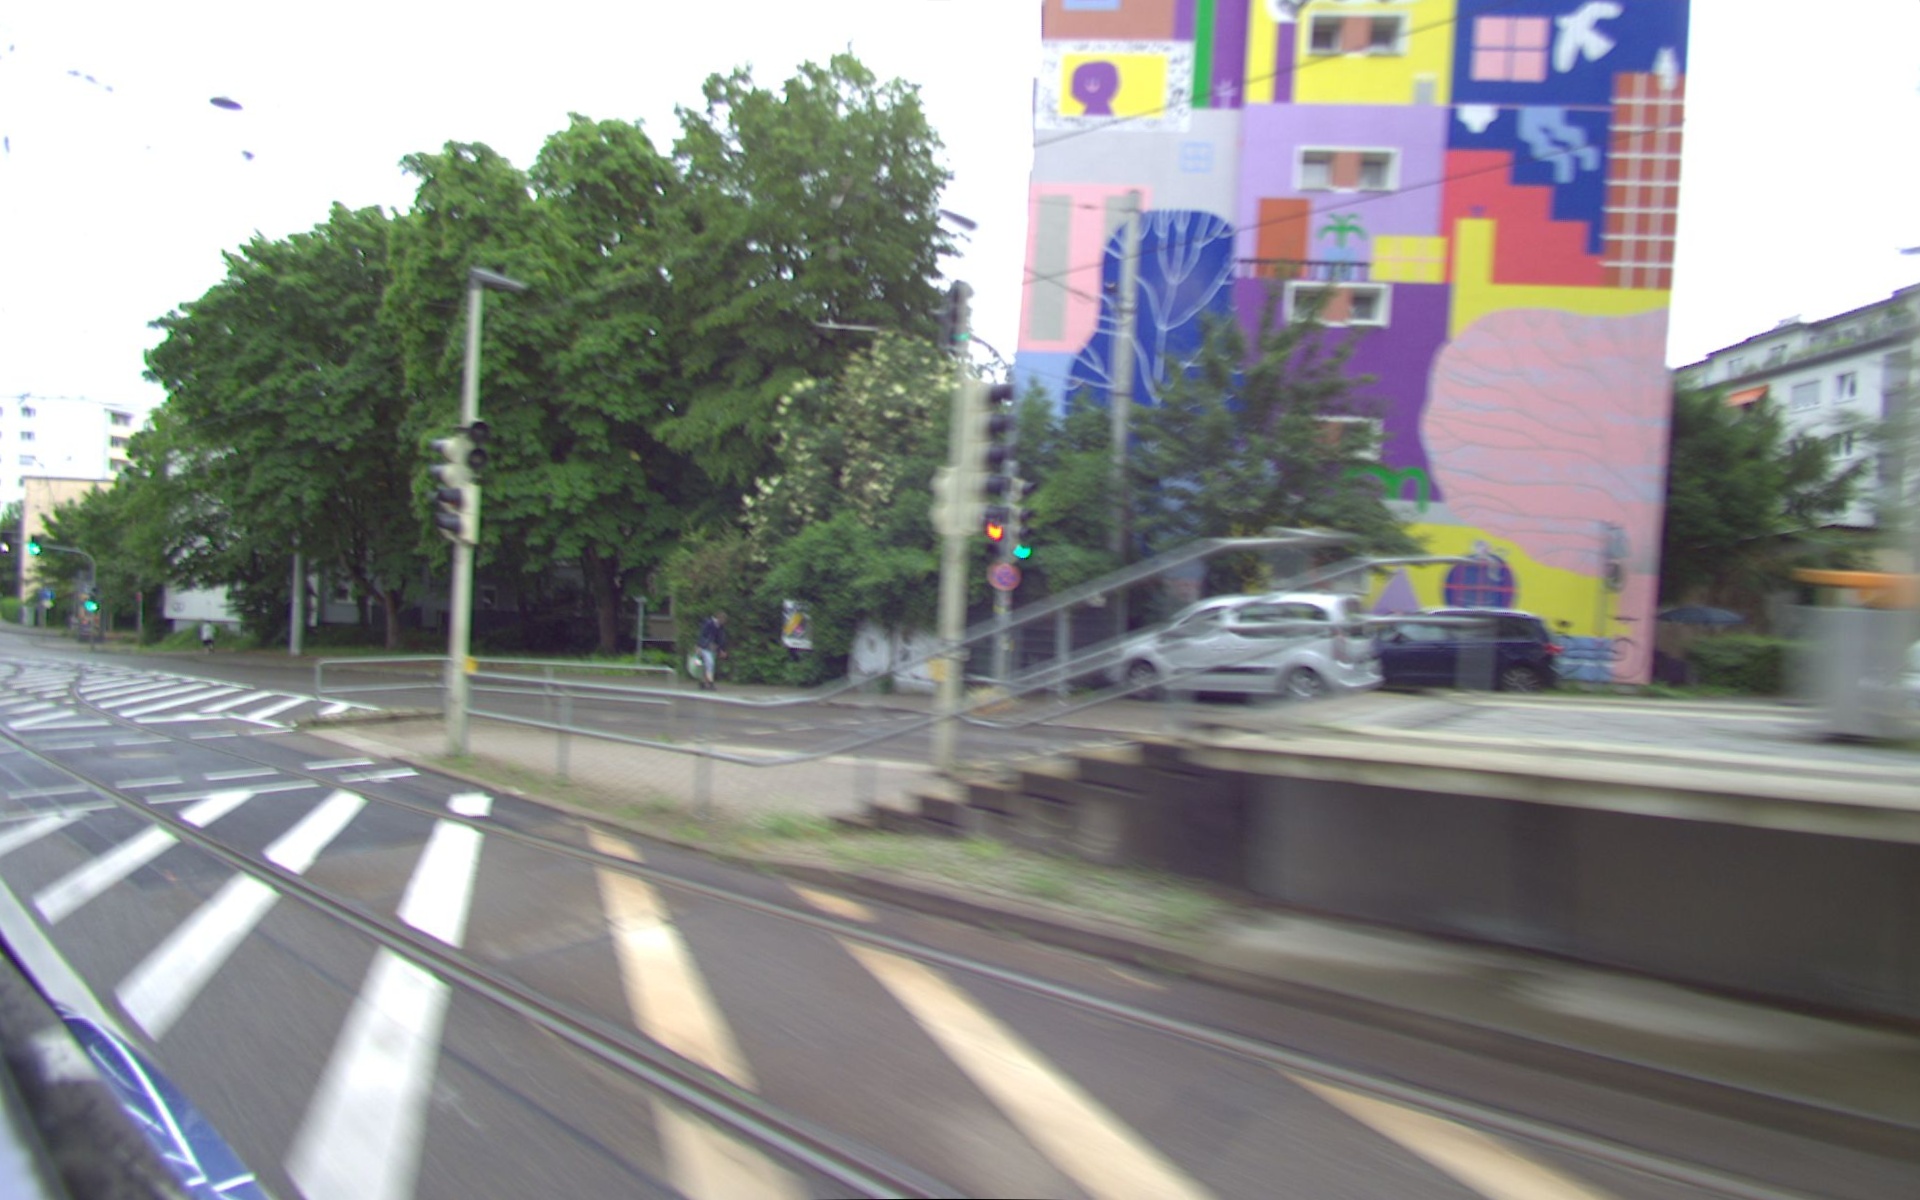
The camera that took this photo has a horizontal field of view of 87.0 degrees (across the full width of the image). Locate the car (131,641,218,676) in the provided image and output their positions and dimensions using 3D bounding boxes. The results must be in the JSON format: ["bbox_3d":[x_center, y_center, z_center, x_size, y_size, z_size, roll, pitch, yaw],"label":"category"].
[{"bbox_3d":[-45.966,3.391,59.241,3.936,1.763,2.004,-1,-1,-39],"label":"car"}]

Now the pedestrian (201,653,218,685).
[{"bbox_3d":[-35.180,3.227,47.437,0.528,1.437,0.522,-2,-1,42],"label":"pedestrian"}]

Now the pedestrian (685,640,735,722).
[{"bbox_3d":[-5.133,1.648,20.778,0.617,1.605,0.745,-2,-1,42],"label":"pedestrian"}]

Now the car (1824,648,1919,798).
[{"bbox_3d":[12.210,1.348,11.714,4.416,1.554,1.951,1,-3,-30],"label":"car"}]

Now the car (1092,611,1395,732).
[{"bbox_3d":[4.535,1.114,16.580,4.436,1.730,1.729,-2,-3,38],"label":"car"}]

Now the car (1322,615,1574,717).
[{"bbox_3d":[9.055,1.191,19.087,3.911,1.650,1.705,2,-1,11],"label":"car"}]
